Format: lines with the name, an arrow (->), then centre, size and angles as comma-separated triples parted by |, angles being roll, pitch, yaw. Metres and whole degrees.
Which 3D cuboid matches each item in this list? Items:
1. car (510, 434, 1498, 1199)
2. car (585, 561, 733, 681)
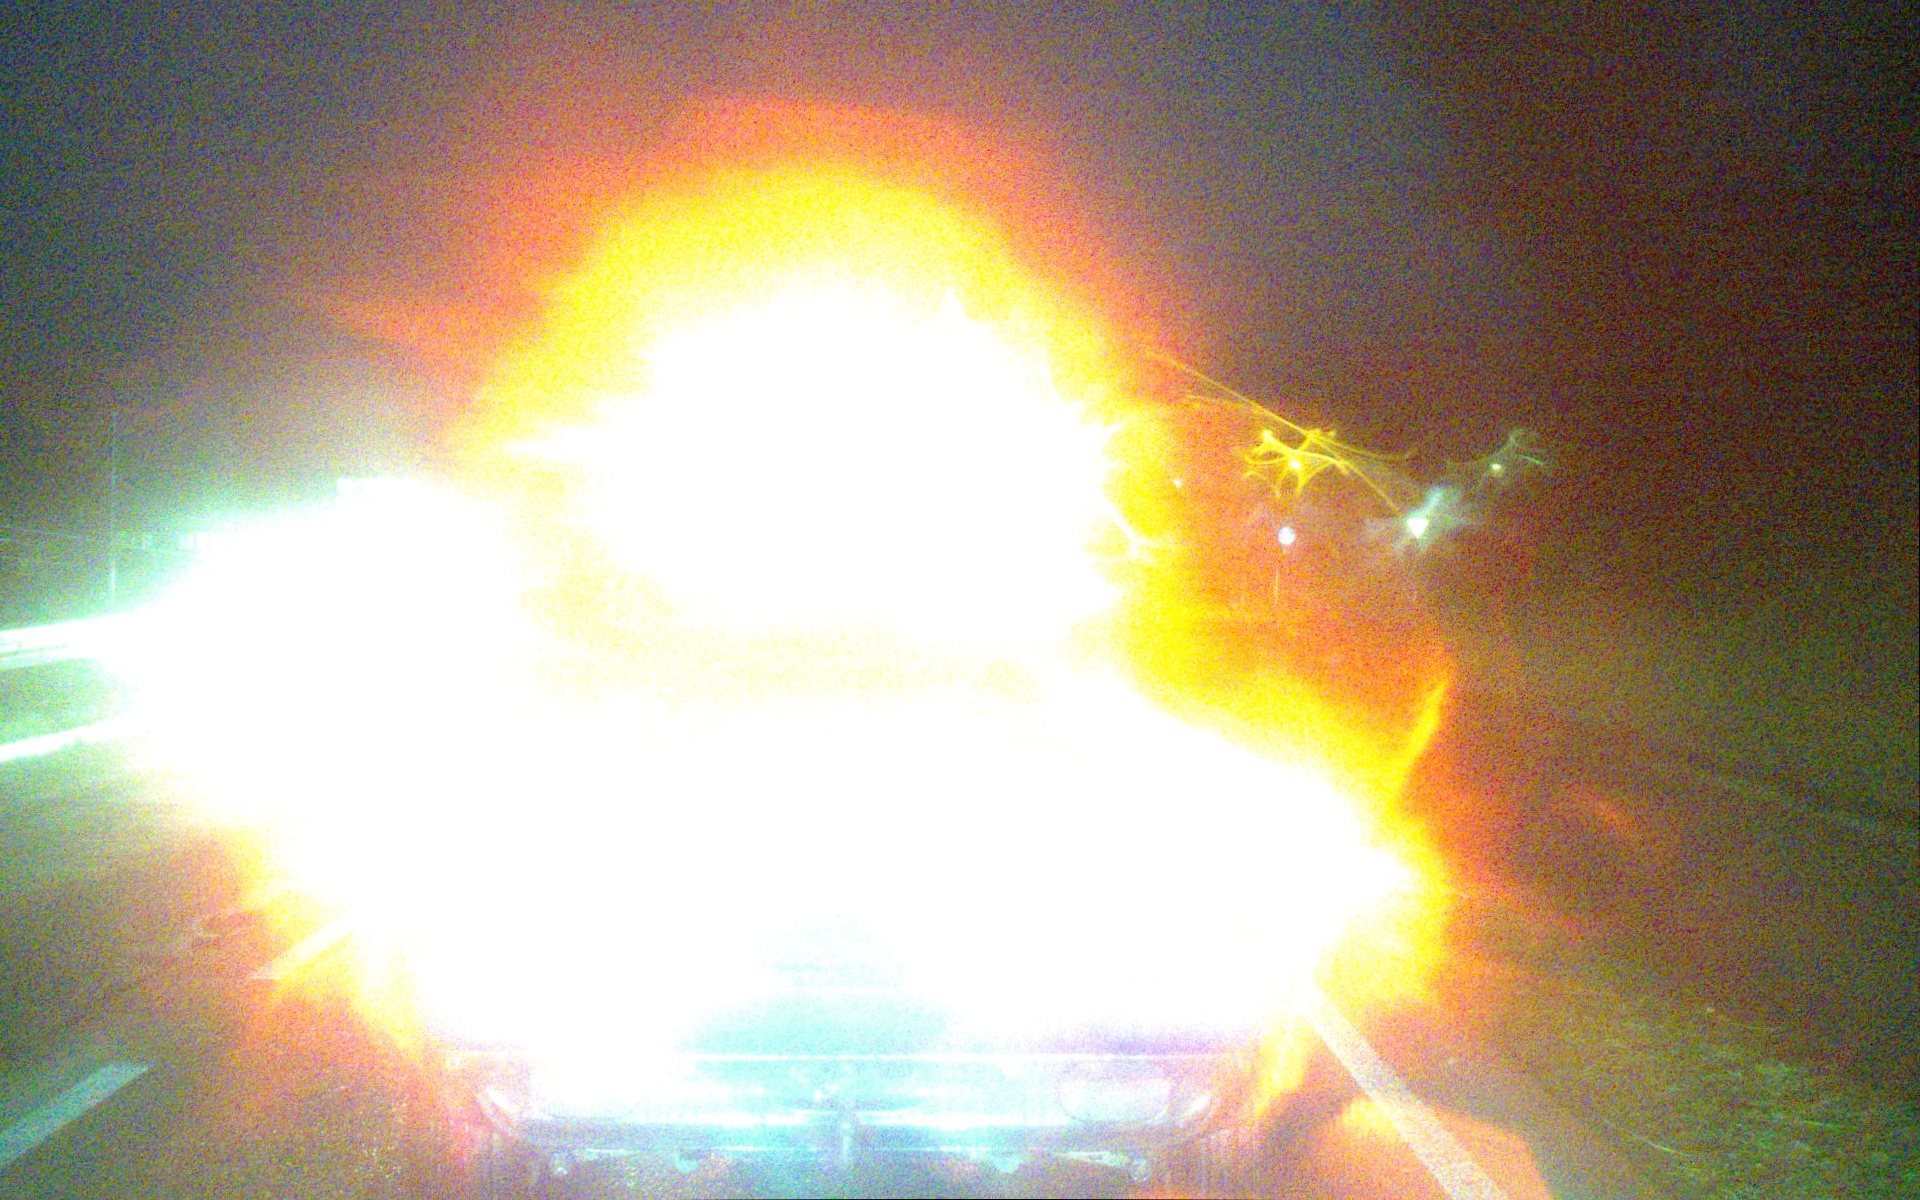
car -> 0.069, 0.527, 8.237 | 1.775, 1.706, 4.000 | 1, 1, 0
car -> -4.366, 0.273, 50.430 | 1.951, 1.650, 4.125 | -1, 1, -2
